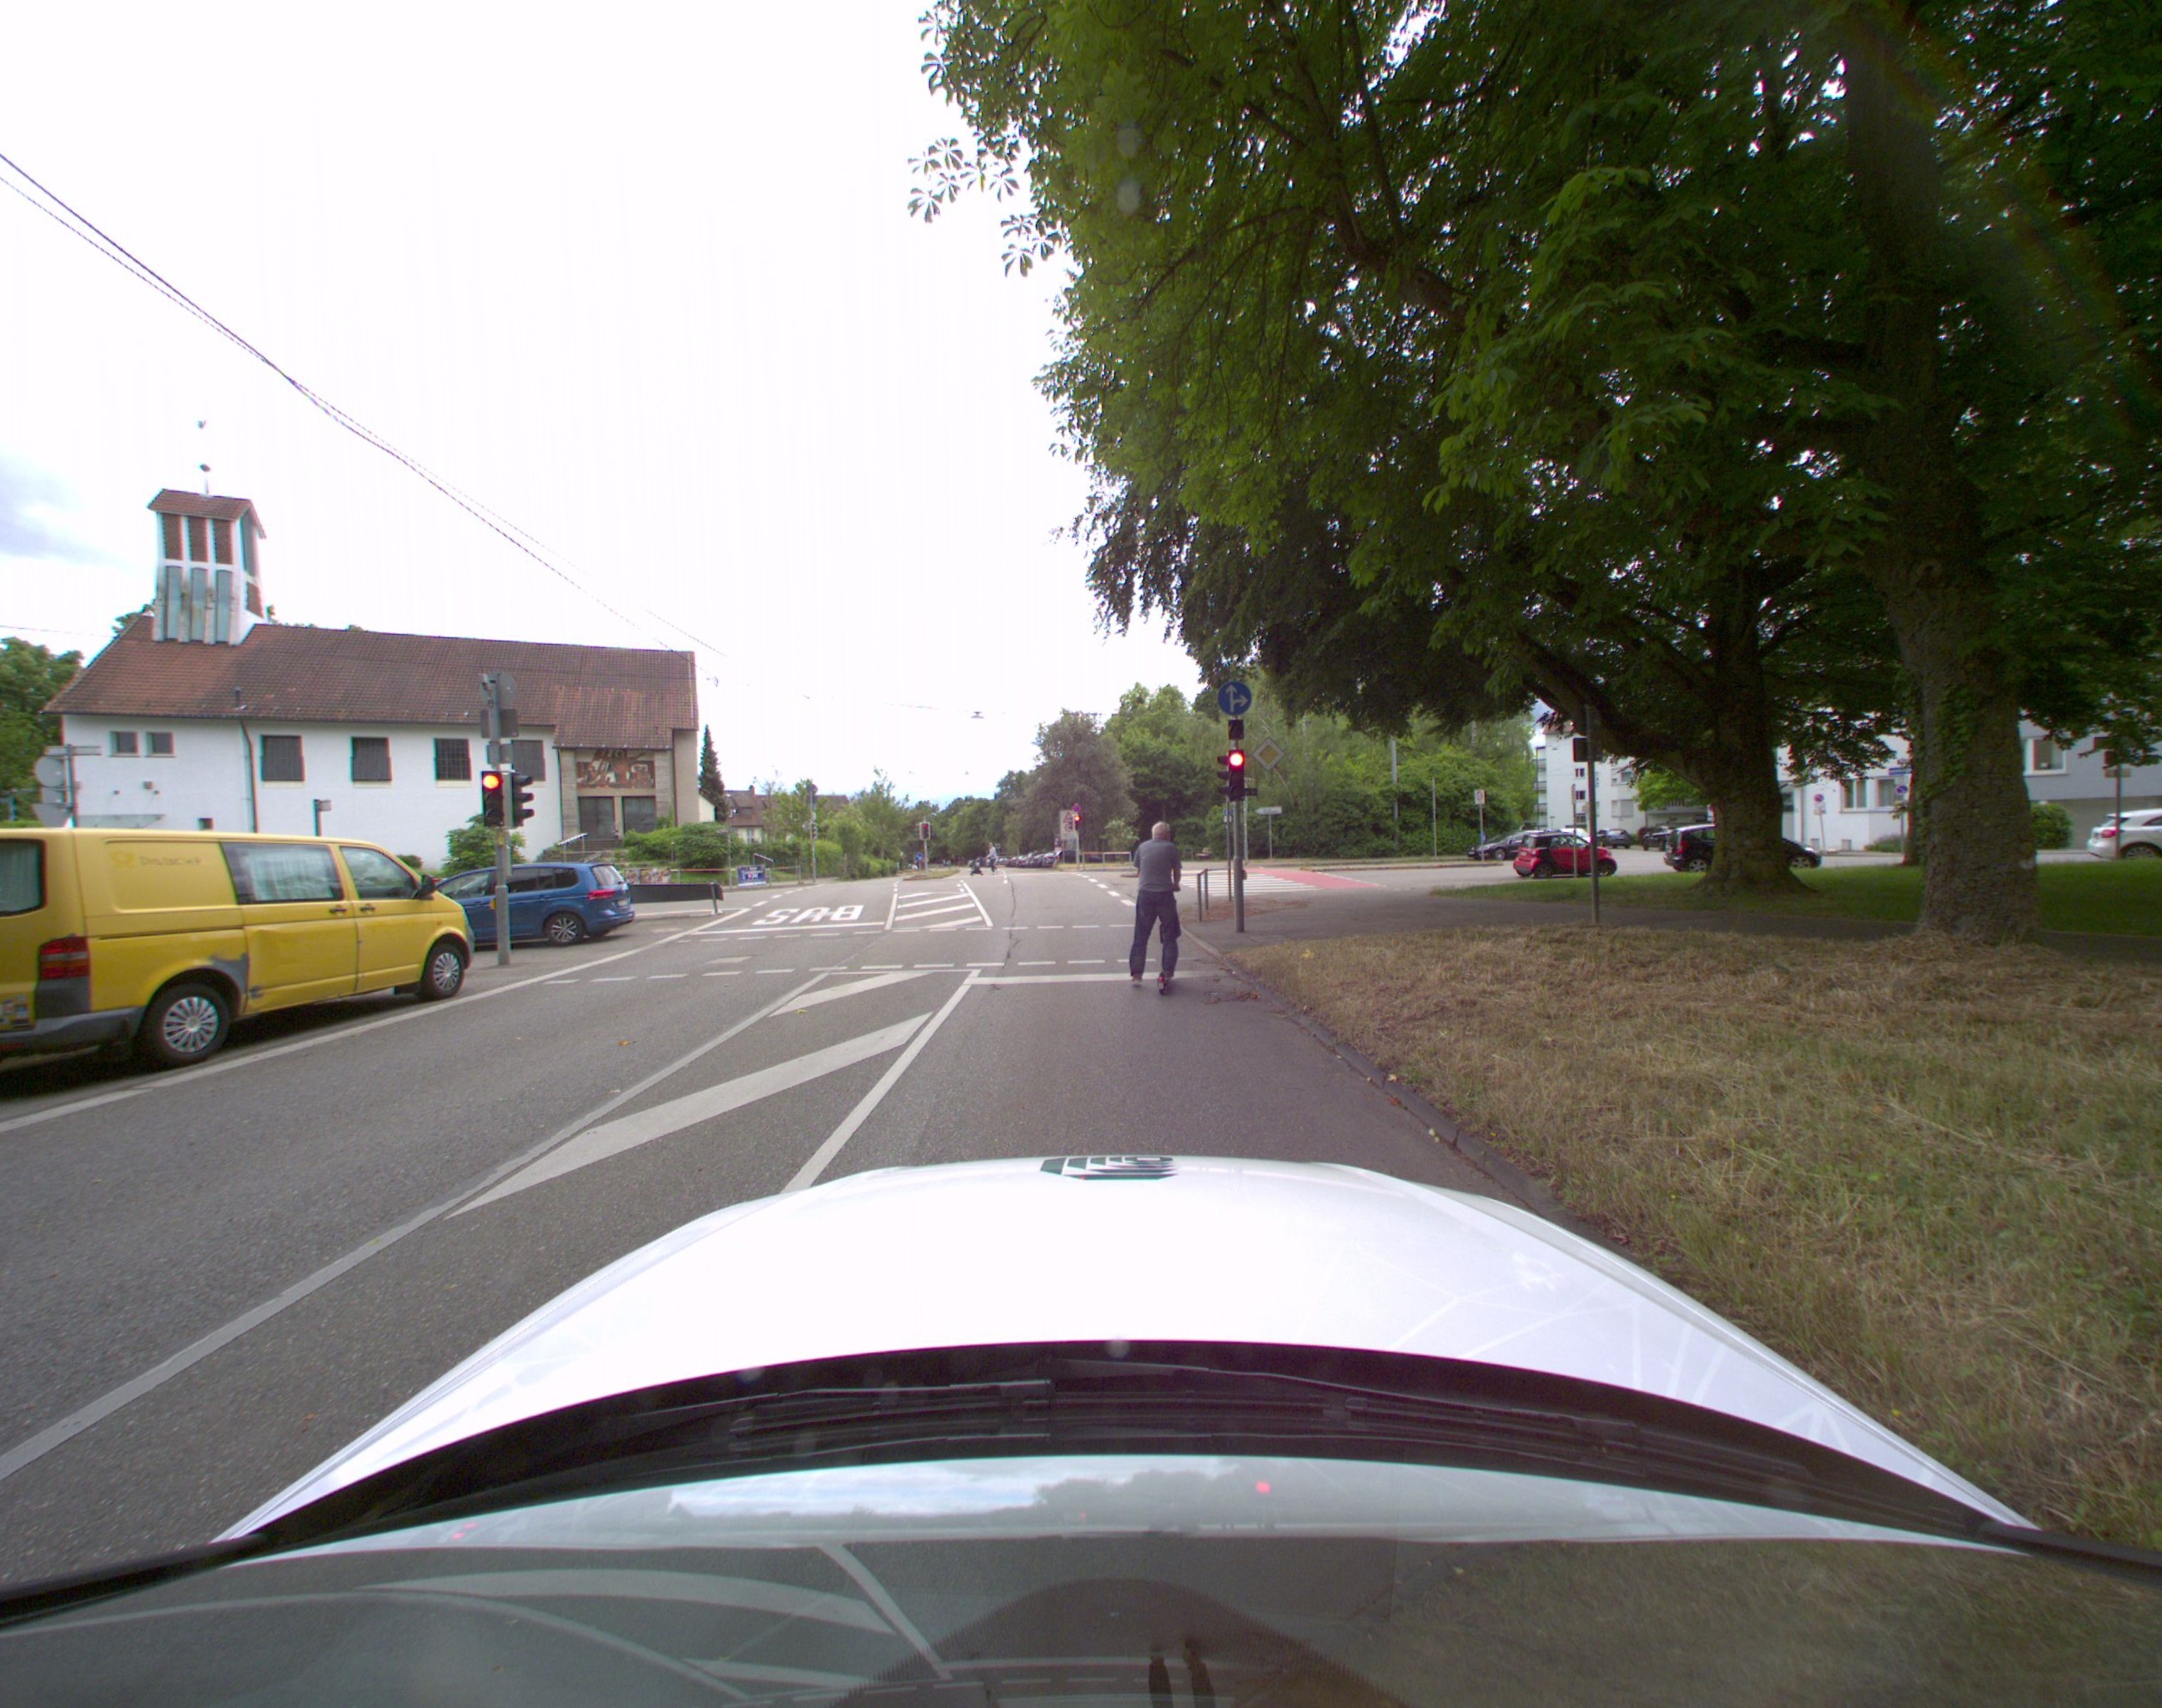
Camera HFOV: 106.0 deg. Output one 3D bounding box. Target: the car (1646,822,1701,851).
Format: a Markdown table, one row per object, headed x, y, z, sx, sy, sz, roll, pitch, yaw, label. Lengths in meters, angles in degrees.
| x | y | z | sx | sy | sz | roll | pitch | yaw | label |
| --- | --- | --- | --- | --- | --- | --- | --- | --- | --- |
| 35.402 | -1.052 | 48.733 | 1.707 | 1.610 | 3.875 | -3 | 0 | 22 | car |

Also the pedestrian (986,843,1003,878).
| x | y | z | sx | sy | sz | roll | pitch | yaw | label |
| --- | --- | --- | --- | --- | --- | --- | --- | --- | --- |
| -4.725 | 0.331 | 44.488 | 0.883 | 1.862 | 0.573 | -3 | 0 | -8 | pedestrian |

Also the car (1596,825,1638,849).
| x | y | z | sx | sy | sz | roll | pitch | yaw | label |
| --- | --- | --- | --- | --- | --- | --- | --- | --- | --- |
| 38.744 | -1.239 | 58.958 | 1.707 | 1.610 | 3.875 | -3 | 0 | 22 | car |

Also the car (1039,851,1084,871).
| x | y | z | sx | sy | sz | roll | pitch | yaw | label |
| --- | --- | --- | --- | --- | --- | --- | --- | --- | --- |
| -1.864 | 0.679 | 76.647 | 3.854 | 1.610 | 1.717 | -3 | 0 | -20 | car |

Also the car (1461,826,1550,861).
| x | y | z | sx | sy | sz | roll | pitch | yaw | label |
| --- | --- | --- | --- | --- | --- | --- | --- | --- | --- |
| 20.980 | -0.517 | 40.344 | 3.499 | 1.530 | 1.732 | -3 | 0 | 7 | car |

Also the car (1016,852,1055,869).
| x | y | z | sx | sy | sz | roll | pitch | yaw | label |
| --- | --- | --- | --- | --- | --- | --- | --- | --- | --- |
| -4.933 | 0.719 | 88.575 | 3.856 | 1.610 | 1.716 | -3 | 0 | -21 | car |

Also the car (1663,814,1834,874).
| x | y | z | sx | sy | sz | roll | pitch | yaw | label |
| --- | --- | --- | --- | --- | --- | --- | --- | --- | --- |
| 20.765 | -0.300 | 25.543 | 3.805 | 1.610 | 1.739 | -3 | 0 | 27 | car |

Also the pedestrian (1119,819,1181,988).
| x | y | z | sx | sy | sz | roll | pitch | yaw | label |
| --- | --- | --- | --- | --- | --- | --- | --- | --- | --- |
| 0.775 | 0.537 | 9.041 | 0.569 | 1.813 | 0.421 | -2 | 0 | 10 | pedestrian |

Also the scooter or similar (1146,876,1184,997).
| x | y | z | sx | sy | sz | roll | pitch | yaw | label |
| --- | --- | --- | --- | --- | --- | --- | --- | --- | --- |
| 0.931 | 0.859 | 8.877 | 0.280 | 1.178 | 1.180 | -2 | 0 | 10 | scooter or similar |

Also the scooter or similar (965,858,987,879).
| x | y | z | sx | sy | sz | roll | pitch | yaw | label |
| --- | --- | --- | --- | --- | --- | --- | --- | --- | --- |
| -5.707 | 0.781 | 44.357 | 1.106 | 1.081 | 0.576 | -2 | 0 | -6 | scooter or similar |

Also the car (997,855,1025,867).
| x | y | z | sx | sy | sz | roll | pitch | yaw | label |
| --- | --- | --- | --- | --- | --- | --- | --- | --- | --- |
| -10.608 | 1.062 | 123.948 | 3.856 | 1.610 | 1.716 | -3 | 0 | -21 | car |

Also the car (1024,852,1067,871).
| x | y | z | sx | sy | sz | roll | pitch | yaw | label |
| --- | --- | --- | --- | --- | --- | --- | --- | --- | --- |
| -3.580 | 0.738 | 81.196 | 3.856 | 1.610 | 1.716 | -3 | 0 | -21 | car |

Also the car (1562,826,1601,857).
| x | y | z | sx | sy | sz | roll | pitch | yaw | label |
| --- | --- | --- | --- | --- | --- | --- | --- | --- | --- |
| 28.628 | -0.753 | 46.669 | 1.706 | 1.610 | 3.878 | -3 | 0 | 29 | car |

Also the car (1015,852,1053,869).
| x | y | z | sx | sy | sz | roll | pitch | yaw | label |
| --- | --- | --- | --- | --- | --- | --- | --- | --- | --- |
| -5.276 | 0.734 | 90.996 | 3.856 | 1.610 | 1.716 | -3 | 0 | -21 | car |

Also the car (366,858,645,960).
| x | y | z | sx | sy | sz | roll | pitch | yaw | label |
| --- | --- | --- | --- | --- | --- | --- | --- | --- | --- |
| -11.089 | 1.000 | 16.027 | 3.993 | 1.610 | 1.809 | -3 | 0 | -14 | car |

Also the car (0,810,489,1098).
| x | y | z | sx | sy | sz | roll | pitch | yaw | label |
| --- | --- | --- | --- | --- | --- | --- | --- | --- | --- |
| -8.291 | 0.731 | 7.955 | 1.881 | 2.013 | 4.558 | -3 | 0 | -5 | car |

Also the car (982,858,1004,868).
| x | y | z | sx | sy | sz | roll | pitch | yaw | label |
| --- | --- | --- | --- | --- | --- | --- | --- | --- | --- |
| -16.965 | 1.727 | 156.263 | 3.856 | 1.610 | 1.716 | -3 | 0 | -21 | car |

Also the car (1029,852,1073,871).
| x | y | z | sx | sy | sz | roll | pitch | yaw | label |
| --- | --- | --- | --- | --- | --- | --- | --- | --- | --- |
| -2.882 | 0.717 | 78.639 | 3.857 | 1.610 | 1.715 | -3 | 0 | -22 | car |

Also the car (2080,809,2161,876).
| x | y | z | sx | sy | sz | roll | pitch | yaw | label |
| --- | --- | --- | --- | --- | --- | --- | --- | --- | --- |
| 27.819 | -0.353 | 20.046 | 3.805 | 1.610 | 1.739 | -3 | 0 | 42 | car |

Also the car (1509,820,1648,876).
| x | y | z | sx | sy | sz | roll | pitch | yaw | label |
| --- | --- | --- | --- | --- | --- | --- | --- | --- | --- |
| 16.452 | -0.191 | 27.081 | 3.500 | 1.610 | 1.731 | -3 | 0 | 6 | car |

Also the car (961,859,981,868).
| x | y | z | sx | sy | sz | roll | pitch | yaw | label |
| --- | --- | --- | --- | --- | --- | --- | --- | --- | --- |
| -24.029 | 2.098 | 177.974 | 3.856 | 1.610 | 1.716 | -3 | 0 | -21 | car |

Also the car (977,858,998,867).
| x | y | z | sx | sy | sz | roll | pitch | yaw | label |
| --- | --- | --- | --- | --- | --- | --- | --- | --- | --- |
| -18.385 | 1.713 | 160.433 | 3.856 | 1.610 | 1.716 | -3 | 0 | -21 | car |
